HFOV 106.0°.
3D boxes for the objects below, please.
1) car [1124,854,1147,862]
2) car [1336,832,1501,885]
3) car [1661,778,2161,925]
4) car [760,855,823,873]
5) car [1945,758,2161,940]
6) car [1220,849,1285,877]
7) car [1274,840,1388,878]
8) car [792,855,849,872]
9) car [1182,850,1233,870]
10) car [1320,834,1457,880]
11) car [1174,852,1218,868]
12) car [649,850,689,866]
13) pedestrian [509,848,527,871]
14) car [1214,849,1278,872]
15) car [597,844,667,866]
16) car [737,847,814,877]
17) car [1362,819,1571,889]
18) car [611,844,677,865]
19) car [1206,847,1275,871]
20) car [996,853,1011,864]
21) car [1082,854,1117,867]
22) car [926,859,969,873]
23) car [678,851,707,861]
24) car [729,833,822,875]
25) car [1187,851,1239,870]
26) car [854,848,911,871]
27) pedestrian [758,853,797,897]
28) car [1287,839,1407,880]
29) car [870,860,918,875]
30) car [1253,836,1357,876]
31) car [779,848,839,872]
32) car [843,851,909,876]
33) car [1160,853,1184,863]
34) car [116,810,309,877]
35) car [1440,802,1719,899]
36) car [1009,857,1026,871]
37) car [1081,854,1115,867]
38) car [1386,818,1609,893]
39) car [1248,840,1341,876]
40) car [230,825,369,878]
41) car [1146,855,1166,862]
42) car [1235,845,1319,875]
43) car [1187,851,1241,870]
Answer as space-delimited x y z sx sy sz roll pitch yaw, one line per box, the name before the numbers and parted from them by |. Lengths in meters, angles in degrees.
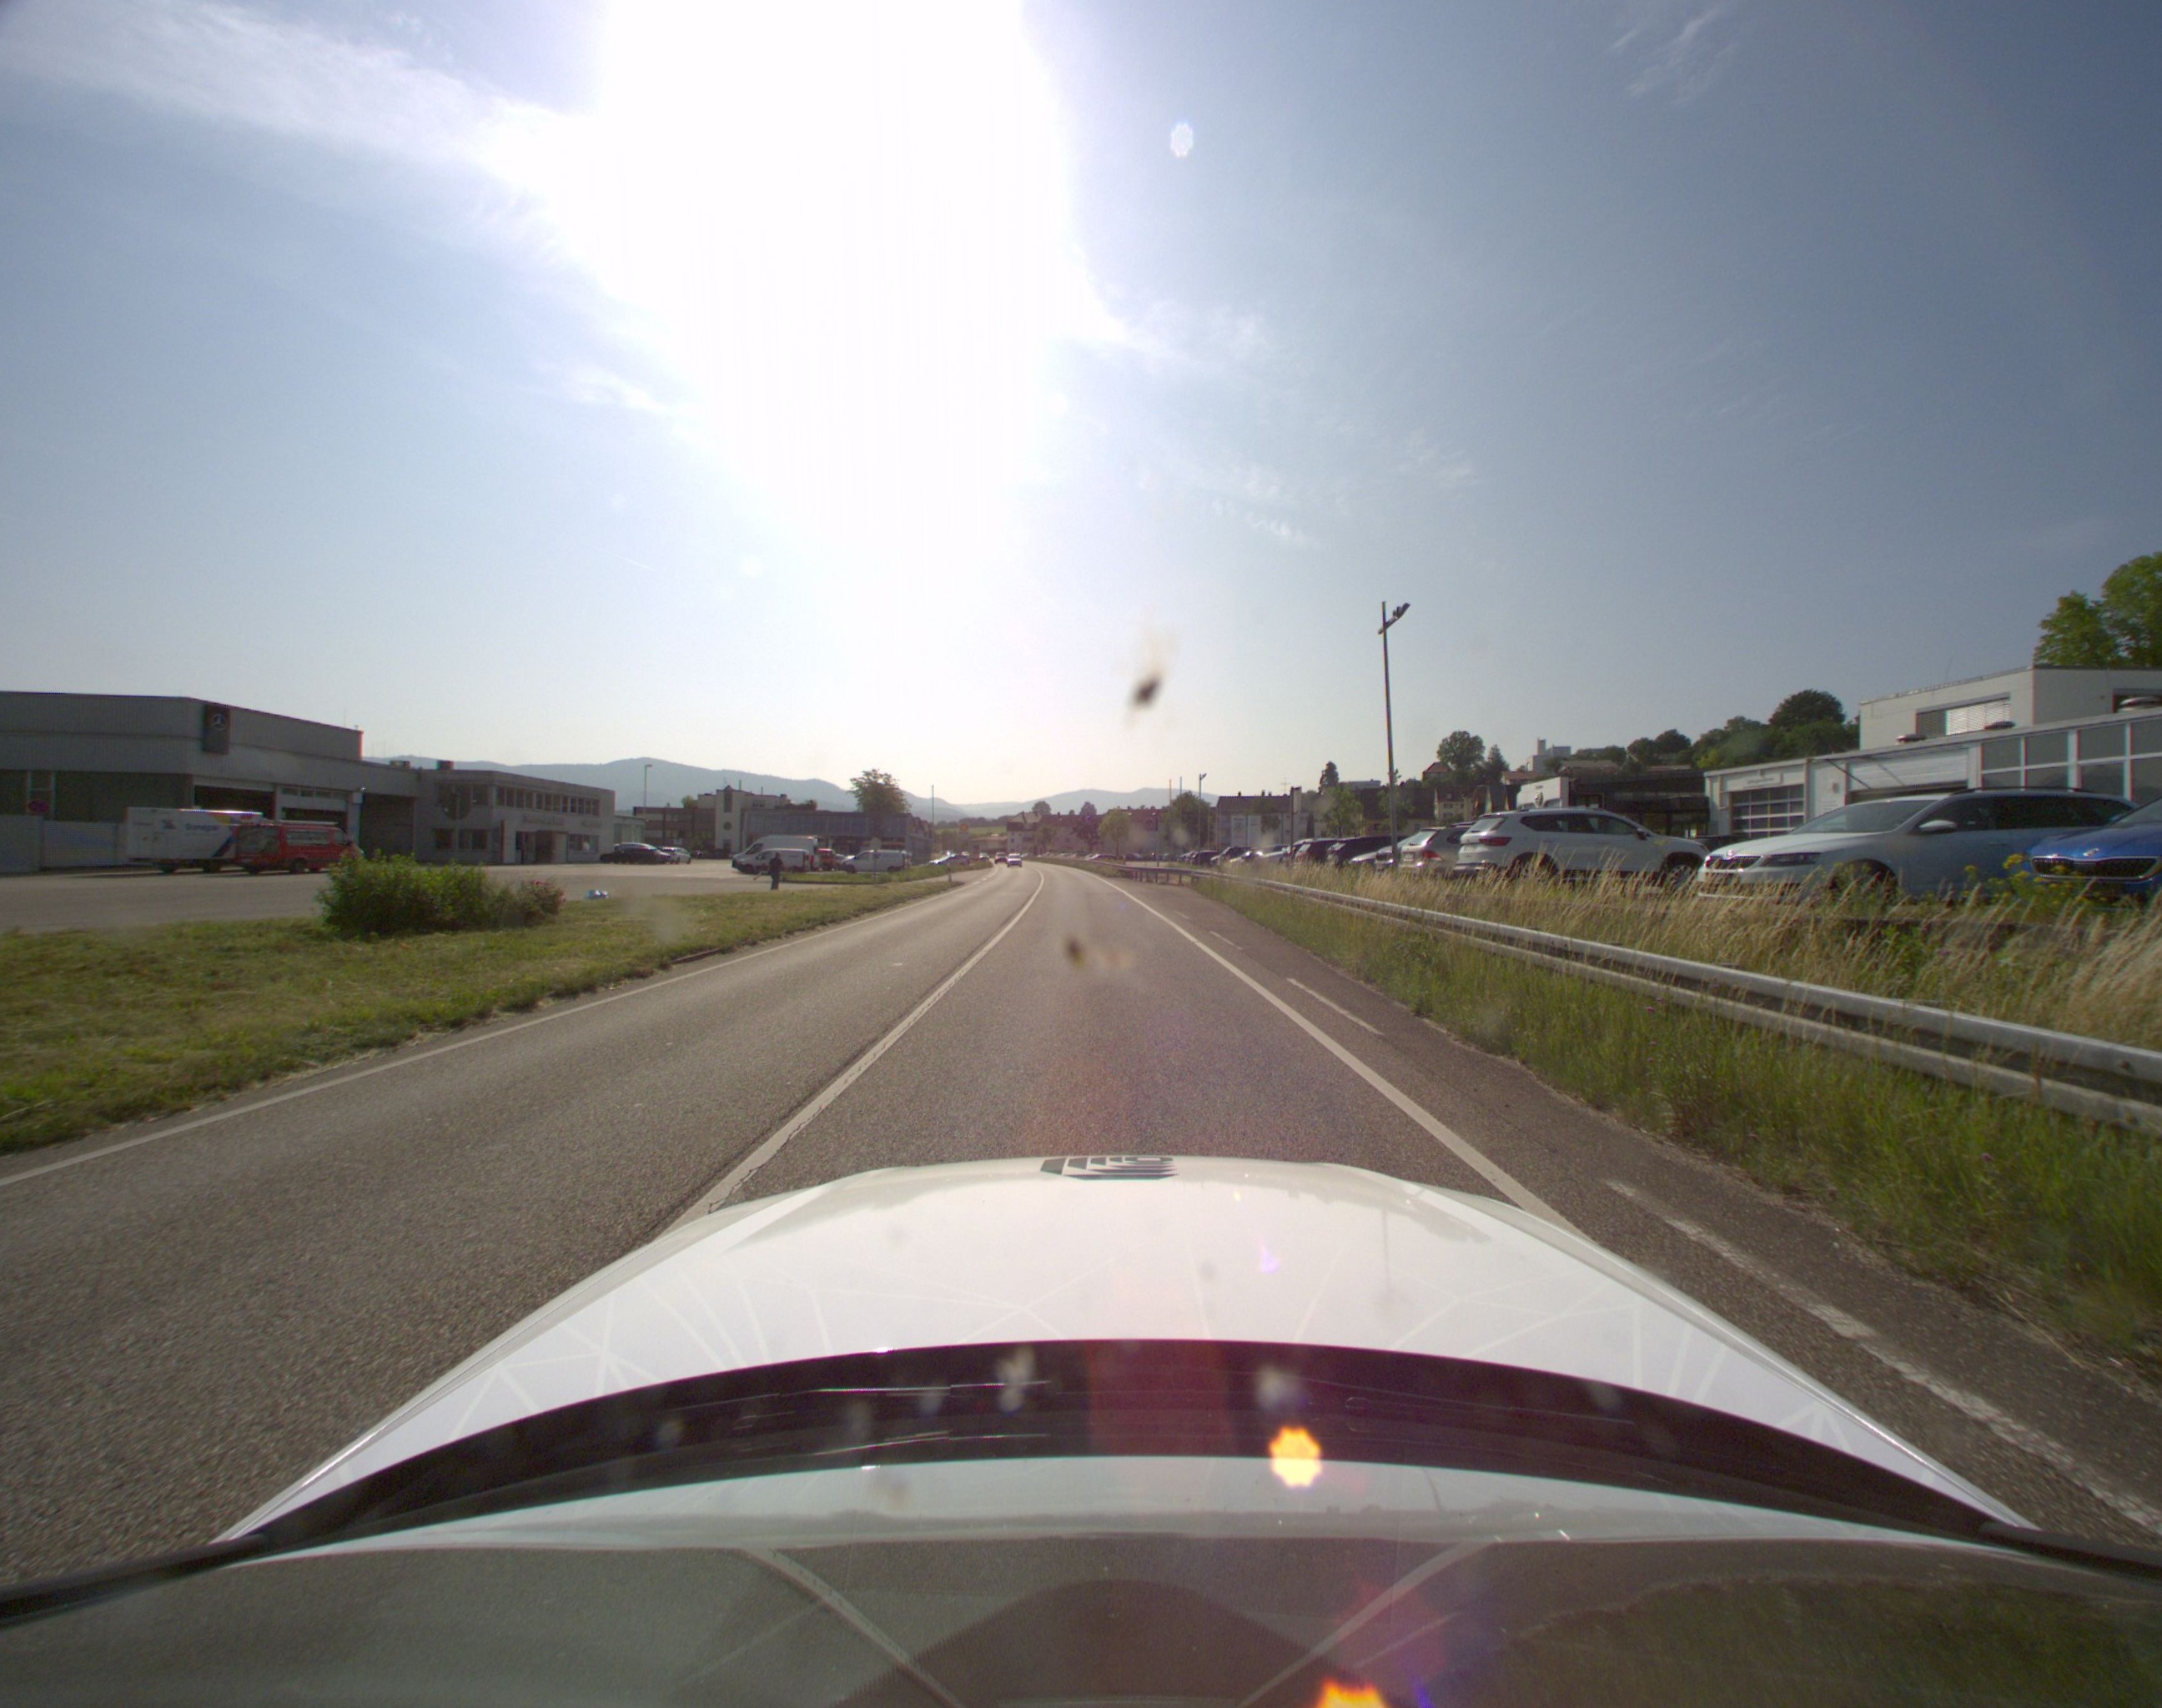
car | 10.005 0.756 150.406 1.922 1.405 4.478 0 -1 -33
car | 9.682 0.135 23.565 3.975 1.452 1.950 0 -1 -1
car | 9.730 -0.032 9.714 4.338 1.494 1.878 -1 -1 -3
car | -23.291 0.787 65.632 4.375 1.319 1.796 1 0 -7
car | 10.865 -0.078 7.458 4.036 1.494 1.878 -1 -1 -3
car | 10.930 0.589 52.131 3.861 1.663 1.842 -1 -1 3
car | 9.969 0.211 32.682 3.975 1.452 1.950 0 -1 -1
car | -22.806 0.823 71.438 4.460 1.398 1.962 1 0 -7
car | 10.838 0.519 69.931 4.072 1.610 1.788 0 -1 -7
car | 9.796 0.100 26.138 3.722 1.428 1.778 0 -1 -1
car | 12.015 0.618 85.121 4.155 1.516 1.819 -1 0 -9
car | -38.553 0.386 76.311 1.803 1.492 4.558 0 -1 -6
pedestrian | -41.342 0.379 59.800 0.819 1.689 0.848 0 -1 -8
car | 11.060 0.424 54.836 4.018 1.486 1.724 -1 -1 3
car | -39.069 0.046 70.950 4.806 1.854 2.208 0 1 -5
car | -20.642 0.535 55.223 4.439 1.840 1.983 2 0 -7
car | 9.602 0.007 20.556 4.340 1.640 1.951 0 -1 1
car | -39.254 0.016 73.192 4.806 1.854 1.950 0 1 -5
car | 11.229 0.352 57.534 4.439 1.600 1.852 -1 -1 -5
car | -11.599 0.681 121.722 1.806 1.630 4.539 -1 0 -1
car | 2.360 0.816 103.035 4.156 1.490 1.727 -2 0 -8
car | -14.515 1.268 88.468 1.830 1.367 4.421 0 0 44
car | -64.848 0.365 136.016 3.970 1.604 1.731 -1 -2 3
car | -21.790 0.012 58.366 5.711 2.745 2.282 2 -1 -5
car | 10.902 0.546 67.490 3.979 1.494 1.788 0 -1 -4
car | -18.178 0.484 74.709 4.786 1.981 2.224 2 0 -7
pedestrian | -11.898 0.807 31.914 0.839 1.689 1.151 -1 -1 40
car | 9.510 0.207 29.296 3.719 1.406 1.822 0 -1 -1
car | -18.244 1.324 79.688 1.874 1.403 4.255 0 -1 44
car | 9.653 0.095 35.363 3.977 1.632 1.919 0 -1 -2
car | -22.962 0.510 68.950 4.375 1.808 1.997 2 0 -7
car | -16.071 0.741 63.989 4.665 1.857 2.139 2 0 -7
car | 15.144 0.667 135.065 3.781 1.521 1.639 0 0 -35
car | -40.331 -0.467 38.205 2.390 2.856 6.518 0 0 -5
car | 9.143 -0.043 15.222 4.029 1.617 1.881 -1 -1 2
car | -7.297 1.128 93.533 1.677 1.473 3.696 -1 0 -9
car | 2.213 0.888 105.891 4.156 1.556 1.766 -2 0 -8
car | 9.148 0.041 18.147 4.023 1.507 1.807 -1 -1 2
car | 10.122 0.181 38.825 3.973 1.632 1.921 0 -1 1
car | -37.103 -0.118 38.892 1.877 2.386 5.215 0 0 -5
car | 13.416 0.777 145.647 1.600 1.186 3.624 0 -1 -33
car | 9.891 0.289 41.279 3.824 1.458 1.746 0 -1 1
car | 10.563 0.526 64.720 3.976 1.494 1.729 0 -1 -2
